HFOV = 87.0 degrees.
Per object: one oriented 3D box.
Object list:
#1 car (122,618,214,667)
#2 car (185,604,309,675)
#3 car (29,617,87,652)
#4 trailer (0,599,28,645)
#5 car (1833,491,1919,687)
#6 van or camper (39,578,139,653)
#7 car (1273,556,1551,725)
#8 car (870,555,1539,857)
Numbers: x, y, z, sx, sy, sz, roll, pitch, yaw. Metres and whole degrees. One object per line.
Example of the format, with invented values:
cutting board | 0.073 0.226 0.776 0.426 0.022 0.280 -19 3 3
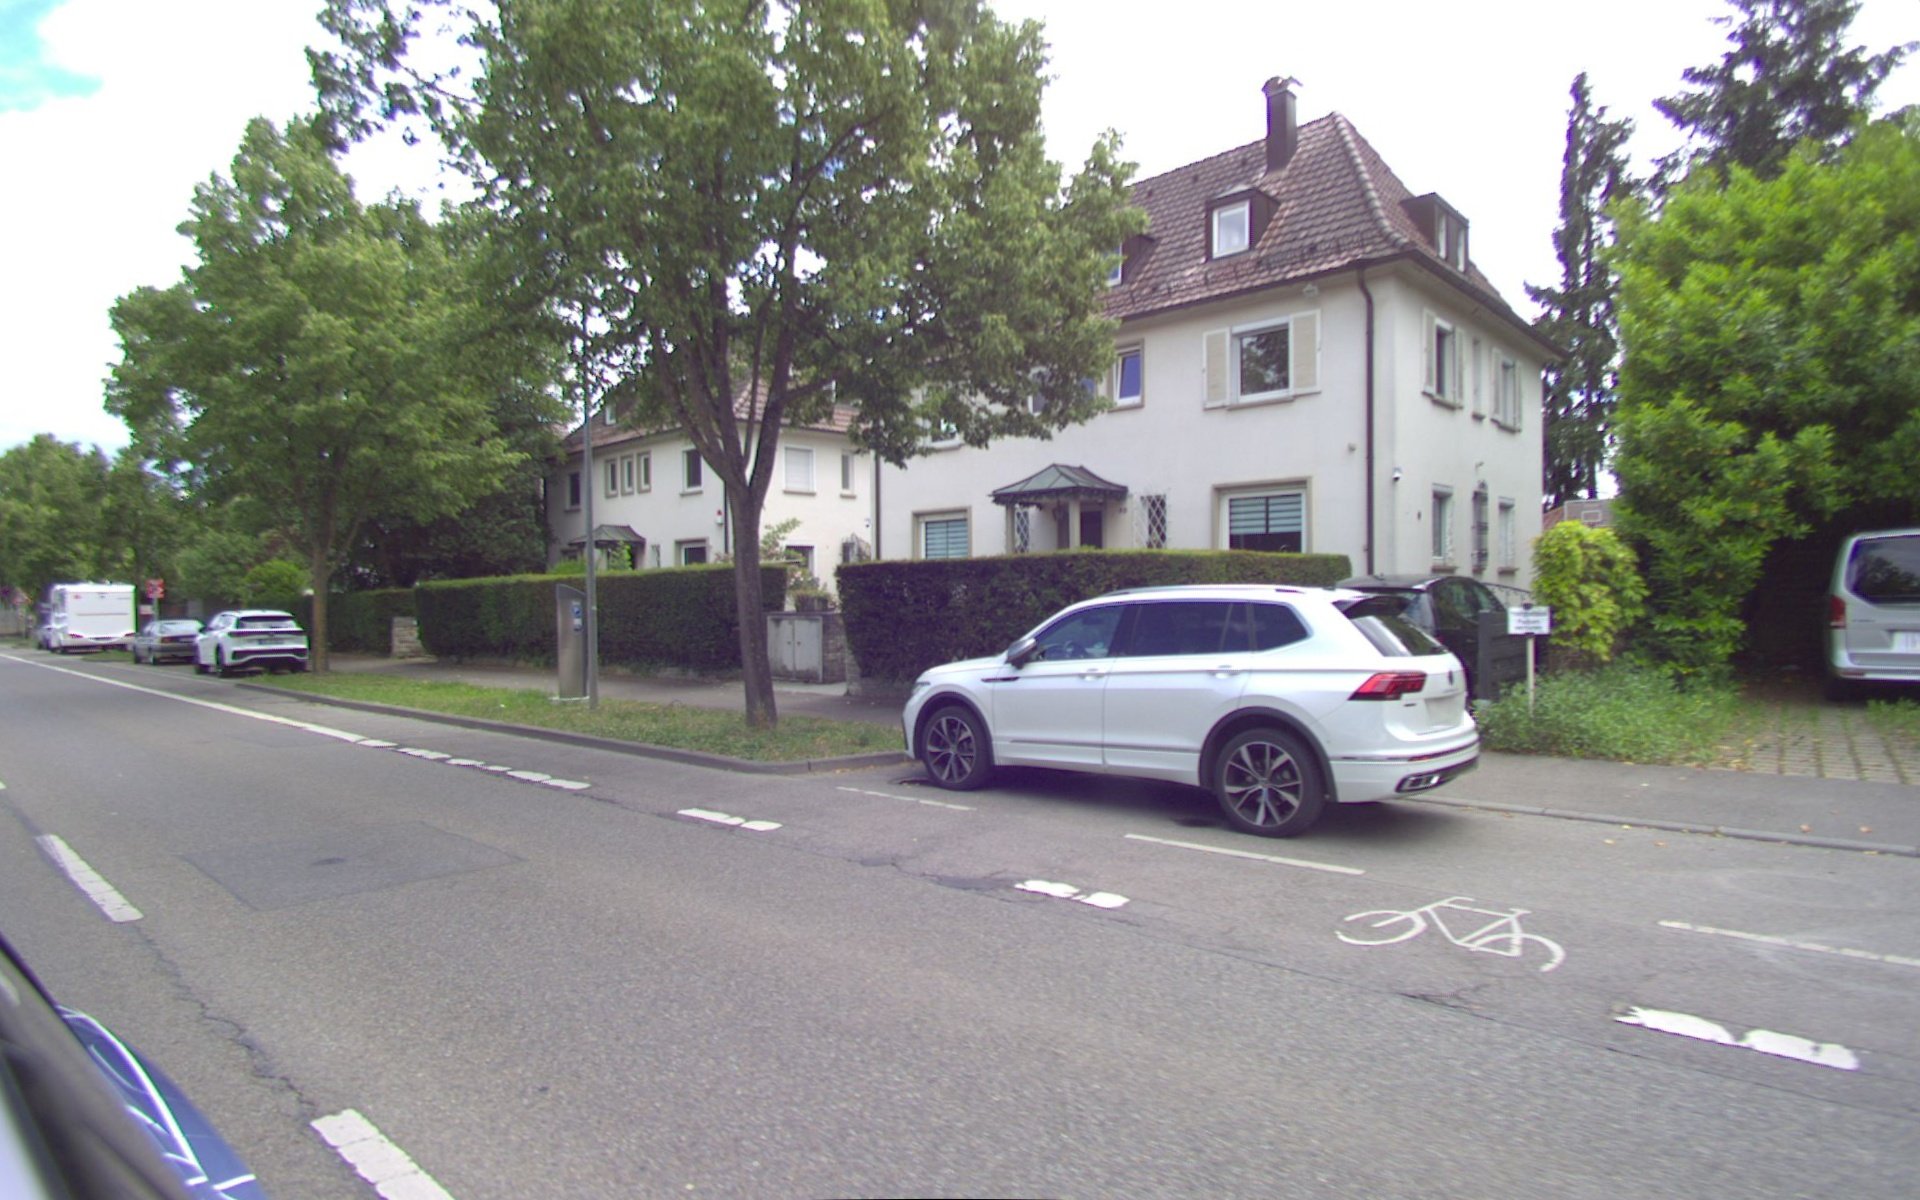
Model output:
car | -26.025 1.352 33.215 4.449 1.481 1.539 -1 0 41
car | -18.680 0.986 26.429 4.700 1.664 1.797 -1 0 44
car | -44.202 1.677 49.568 4.272 1.612 1.704 -1 0 43
trailer | -65.872 1.462 69.020 7.473 2.963 2.646 0 1 42
car | 11.269 -0.114 11.550 1.899 1.951 4.411 -1 -1 41
van or camper | -37.928 0.670 43.945 7.692 3.032 2.409 -1 -1 43
car | 5.348 0.395 11.685 1.764 1.597 4.153 -1 -1 41
car | 1.628 0.635 8.029 4.864 1.701 1.854 -1 -1 42
